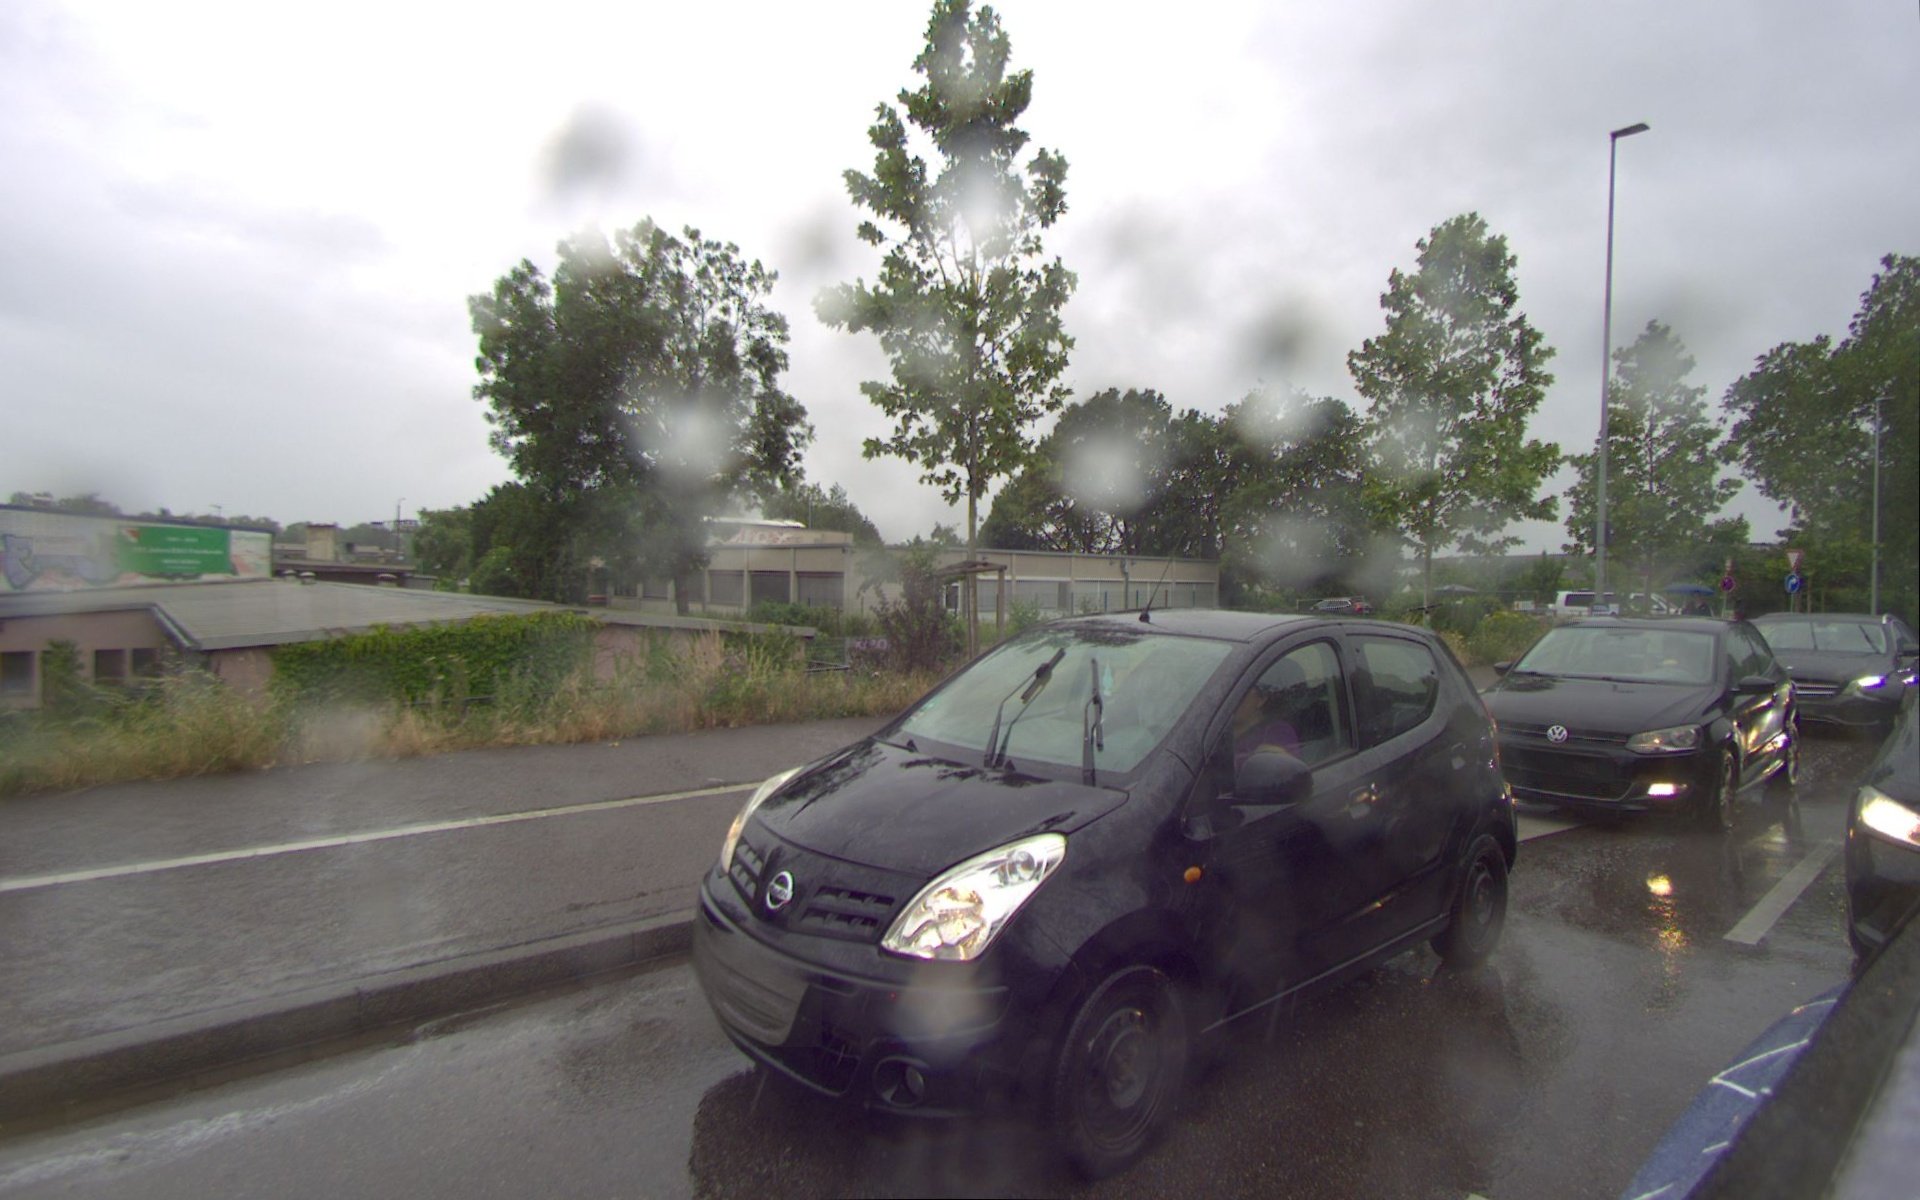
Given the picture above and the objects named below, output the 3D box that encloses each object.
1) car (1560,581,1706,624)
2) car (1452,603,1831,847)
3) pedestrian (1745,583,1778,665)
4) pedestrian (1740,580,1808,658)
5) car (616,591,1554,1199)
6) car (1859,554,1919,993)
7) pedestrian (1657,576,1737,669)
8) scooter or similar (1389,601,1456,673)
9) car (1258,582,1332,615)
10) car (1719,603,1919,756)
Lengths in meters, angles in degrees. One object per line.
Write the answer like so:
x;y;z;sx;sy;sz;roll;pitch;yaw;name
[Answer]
28.133;0.118;42.415;1.966;1.670;4.751;-1;-1;-42;car
5.396;0.756;7.853;3.561;1.447;1.631;0;0;-42;car
16.645;0.487;21.009;0.433;1.682;0.400;0;3;-42;pedestrian
18.920;0.423;23.526;0.876;1.729;1.024;0;3;-41;pedestrian
0.747;0.712;3.863;3.561;1.447;1.631;0;0;-42;car
5.499;0.618;4.533;4.091;1.607;1.688;-1;0;-41;car
14.801;0.420;20.330;0.953;1.777;1.081;0;3;-42;pedestrian
7.896;0.611;17.241;1.747;1.144;0.380;-1;2;-43;scooter or similar
20.997;-0.103;63.469;1.964;2.039;3.996;0;0;-38;car
11.172;0.869;12.861;3.747;1.594;1.697;-1;0;-41;car
